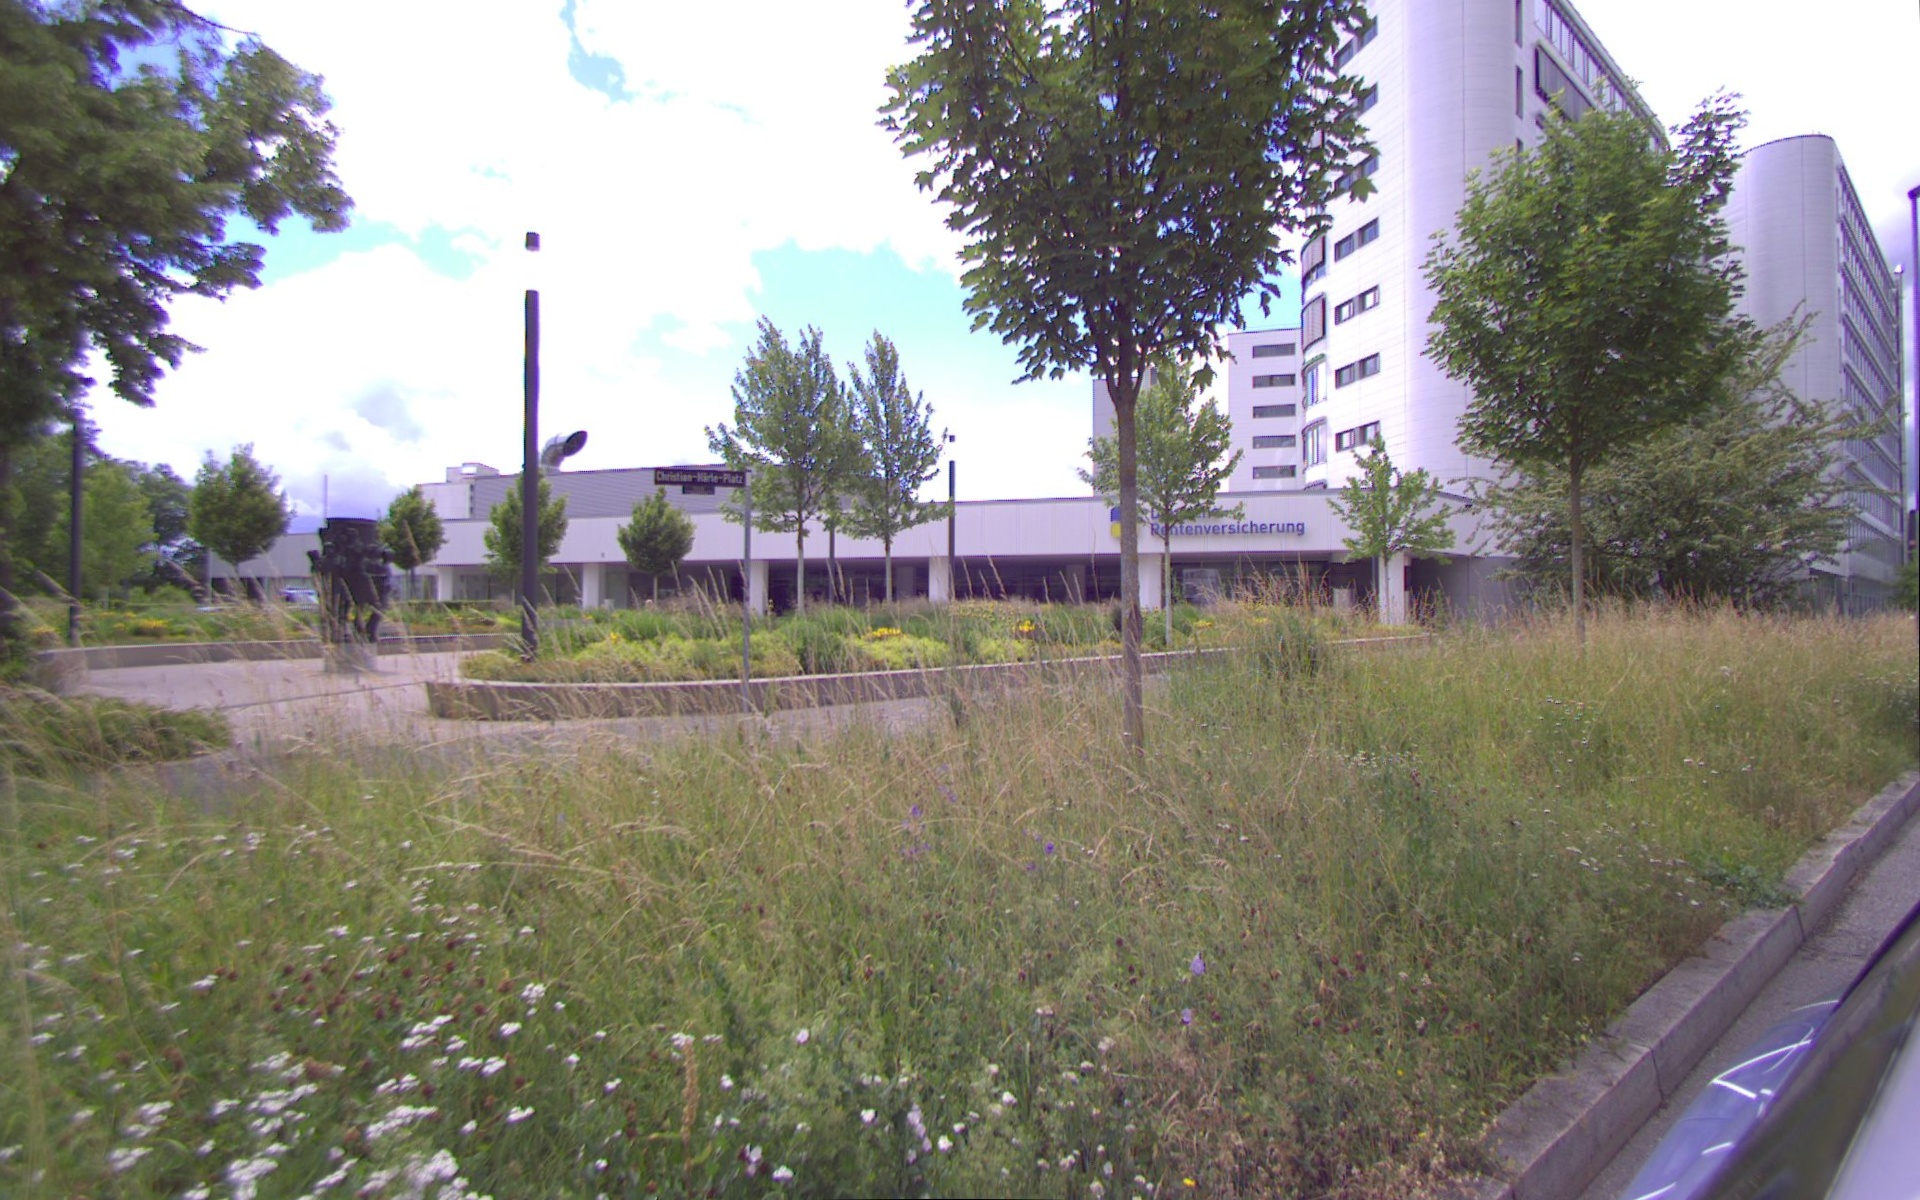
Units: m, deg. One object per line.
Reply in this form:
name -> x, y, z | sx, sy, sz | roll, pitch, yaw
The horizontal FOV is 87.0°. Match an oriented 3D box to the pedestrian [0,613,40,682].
pedestrian -> -17.439, 0.863, 18.666 | 0.621, 1.238, 0.620 | 1, 0, -36

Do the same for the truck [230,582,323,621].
truck -> -36.154, 0.069, 53.568 | 3.941, 2.039, 1.991 | 1, 0, 14

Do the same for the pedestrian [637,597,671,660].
pedestrian -> -8.093, 0.736, 26.808 | 0.756, 1.646, 0.766 | 0, 0, -9
